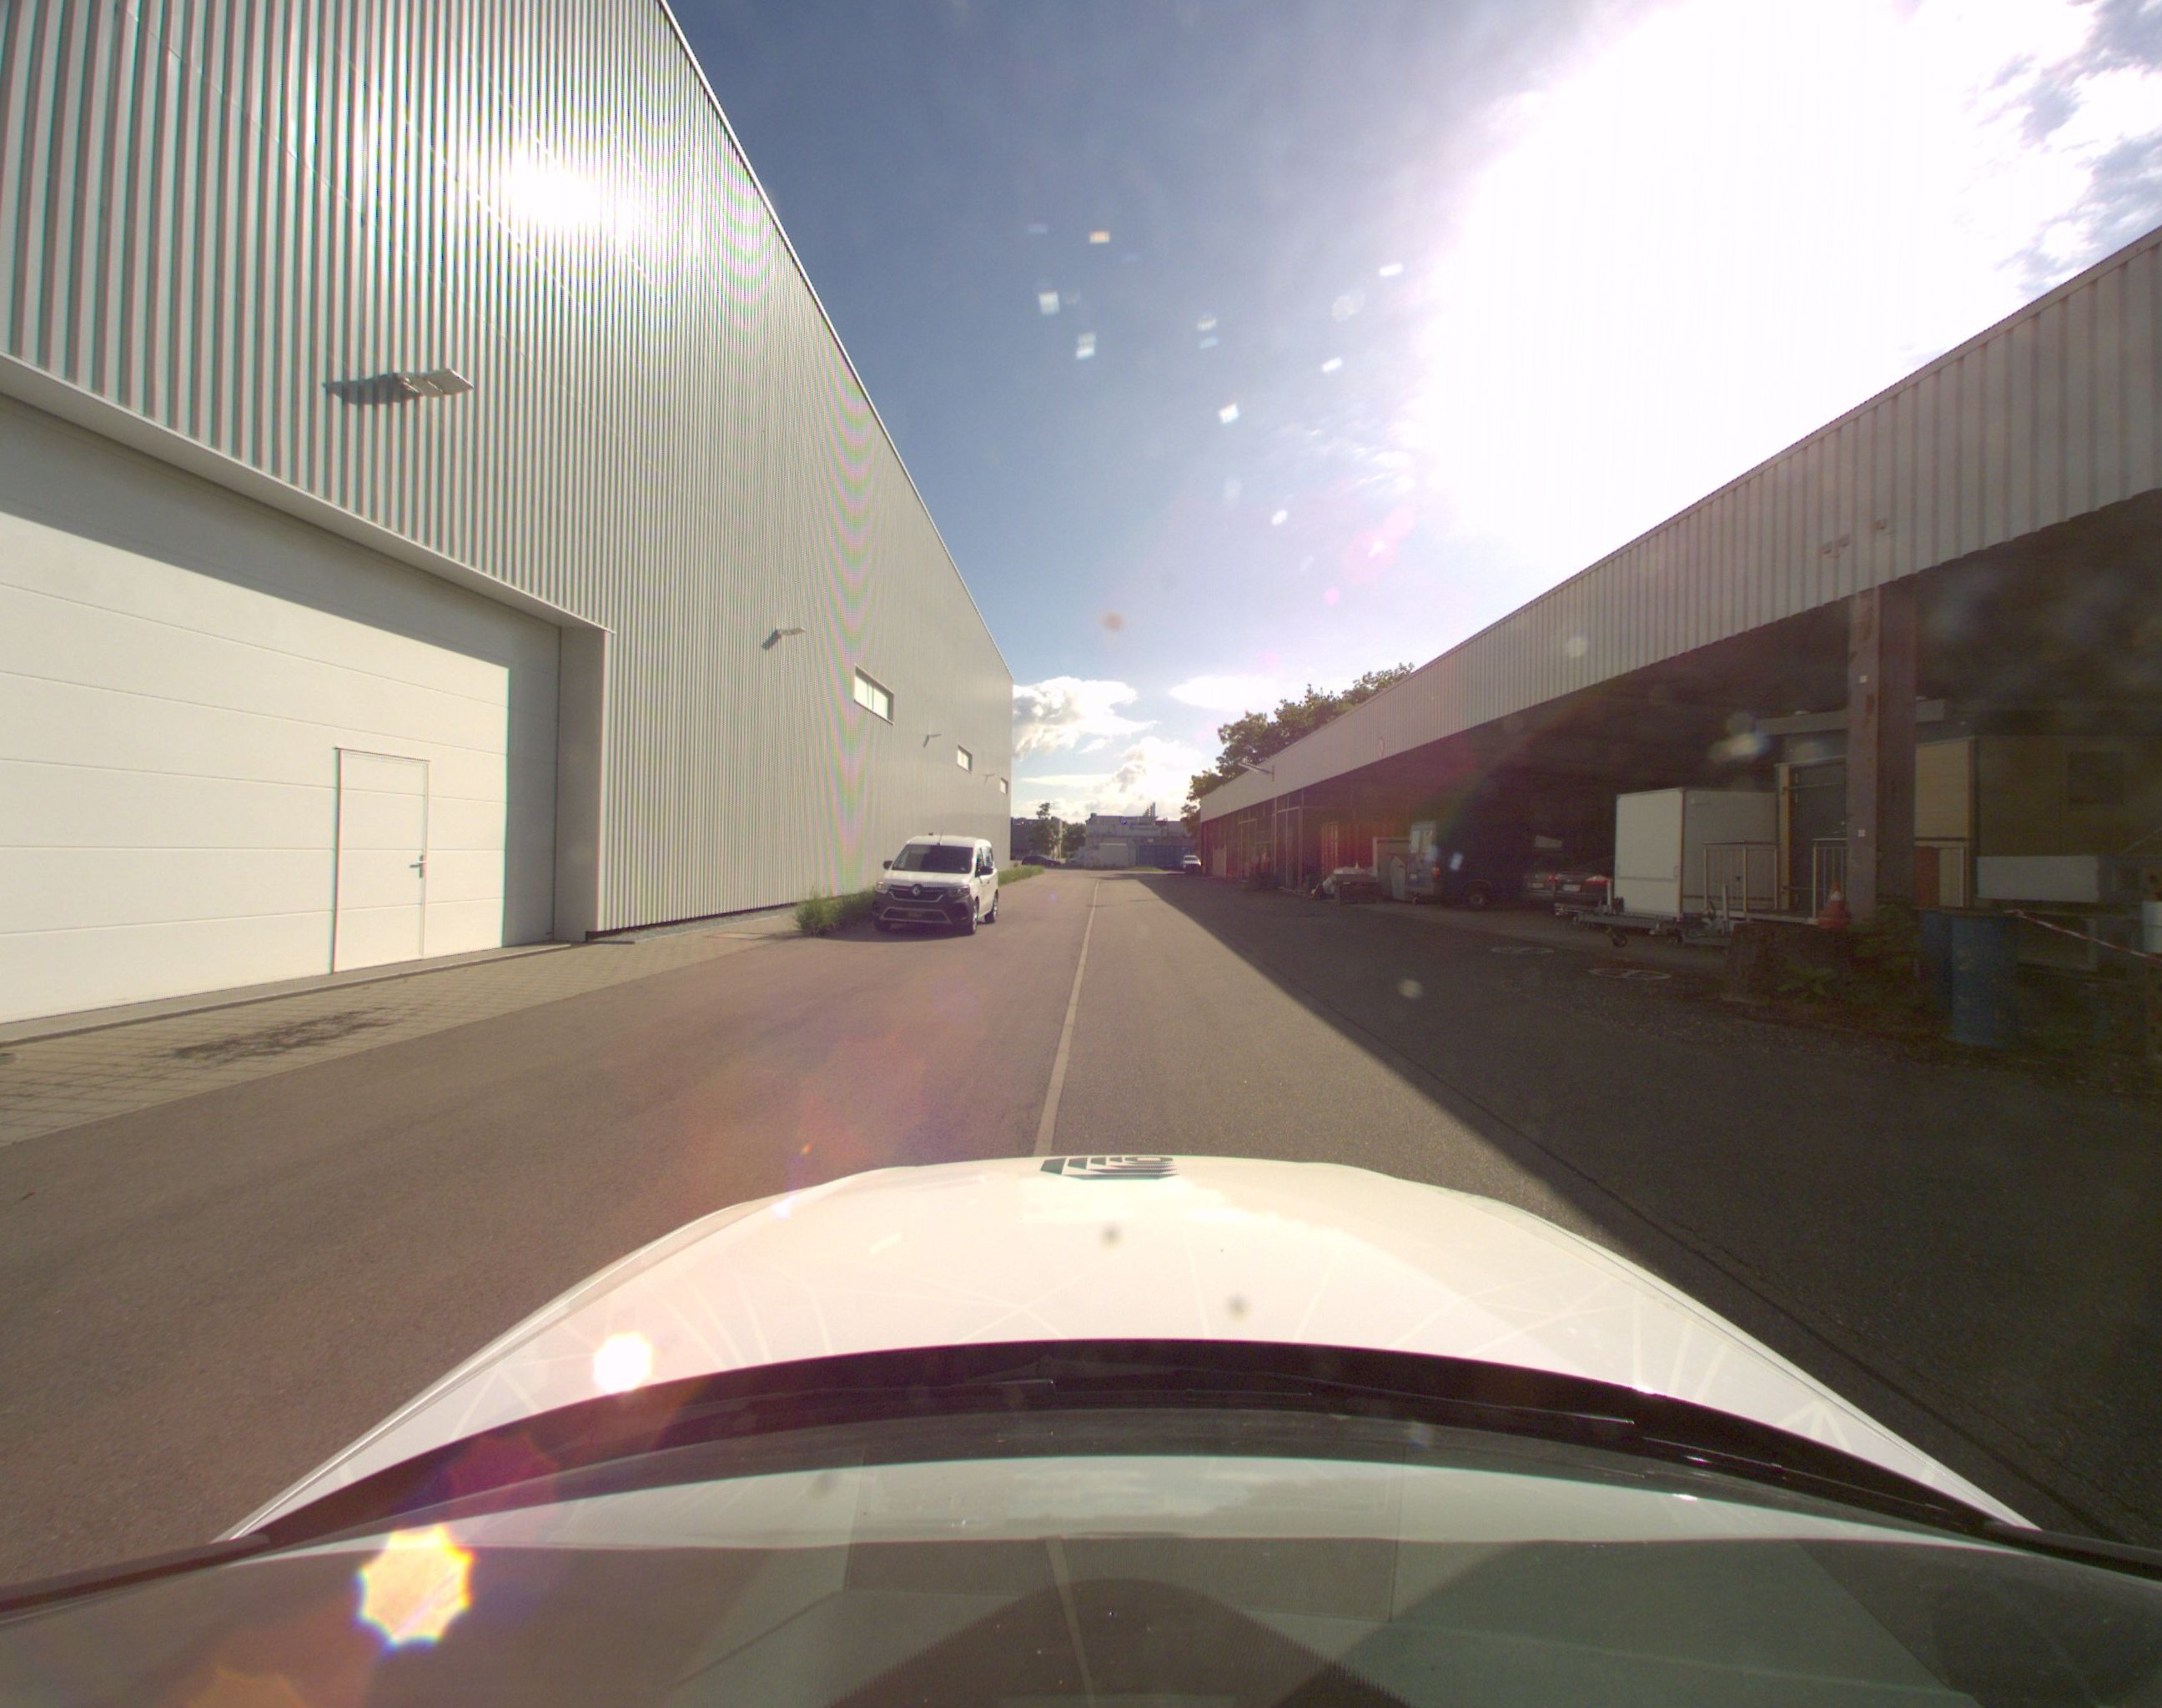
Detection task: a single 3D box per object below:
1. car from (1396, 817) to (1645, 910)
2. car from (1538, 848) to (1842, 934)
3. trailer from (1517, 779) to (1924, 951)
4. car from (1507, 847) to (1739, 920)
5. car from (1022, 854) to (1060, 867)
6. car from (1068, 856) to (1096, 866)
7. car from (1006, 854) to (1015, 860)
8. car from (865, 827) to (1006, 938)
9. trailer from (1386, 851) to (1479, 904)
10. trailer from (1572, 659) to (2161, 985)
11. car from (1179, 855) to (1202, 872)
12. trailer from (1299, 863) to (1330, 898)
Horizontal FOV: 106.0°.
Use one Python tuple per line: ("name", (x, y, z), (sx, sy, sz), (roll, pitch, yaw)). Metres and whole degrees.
("car", (11.240, 0.248, 21.127), (5.314, 2.281, 2.153), (0, -1, 0))
("car", (10.974, 0.636, 14.886), (4.237, 1.471, 1.869), (0, 0, -2))
("trailer", (9.427, 0.173, 12.358), (4.498, 2.342, 2.048), (-1, -1, 2))
("car", (11.828, 0.634, 17.958), (3.953, 1.514, 1.839), (0, -1, -2))
("car", (-4.798, 0.817, 98.172), (4.432, 1.531, 1.824), (0, -1, 1))
("car", (0.202, 1.072, 125.994), (4.287, 1.457, 1.824), (0, -1, 1))
("car", (-16.721, 0.768, 193.750), (1.852, 1.494, 4.028), (-1, -1, 0))
("car", (-2.684, 0.508, 16.151), (1.777, 1.816, 4.602), (2, -1, 1))
("trailer", (10.196, 0.654, 23.755), (2.028, 1.466, 1.741), (-1, 0, 5))
("trailer", (11.915, -0.361, 9.823), (10.229, 3.343, 2.802), (-1, 0, 1))
("car", (11.464, 0.940, 85.438), (1.971, 1.602, 4.381), (-1, 1, 3))
("trailer", (7.705, 0.856, 26.906), (0.550, 1.118, 1.546), (-1, -1, 0))
